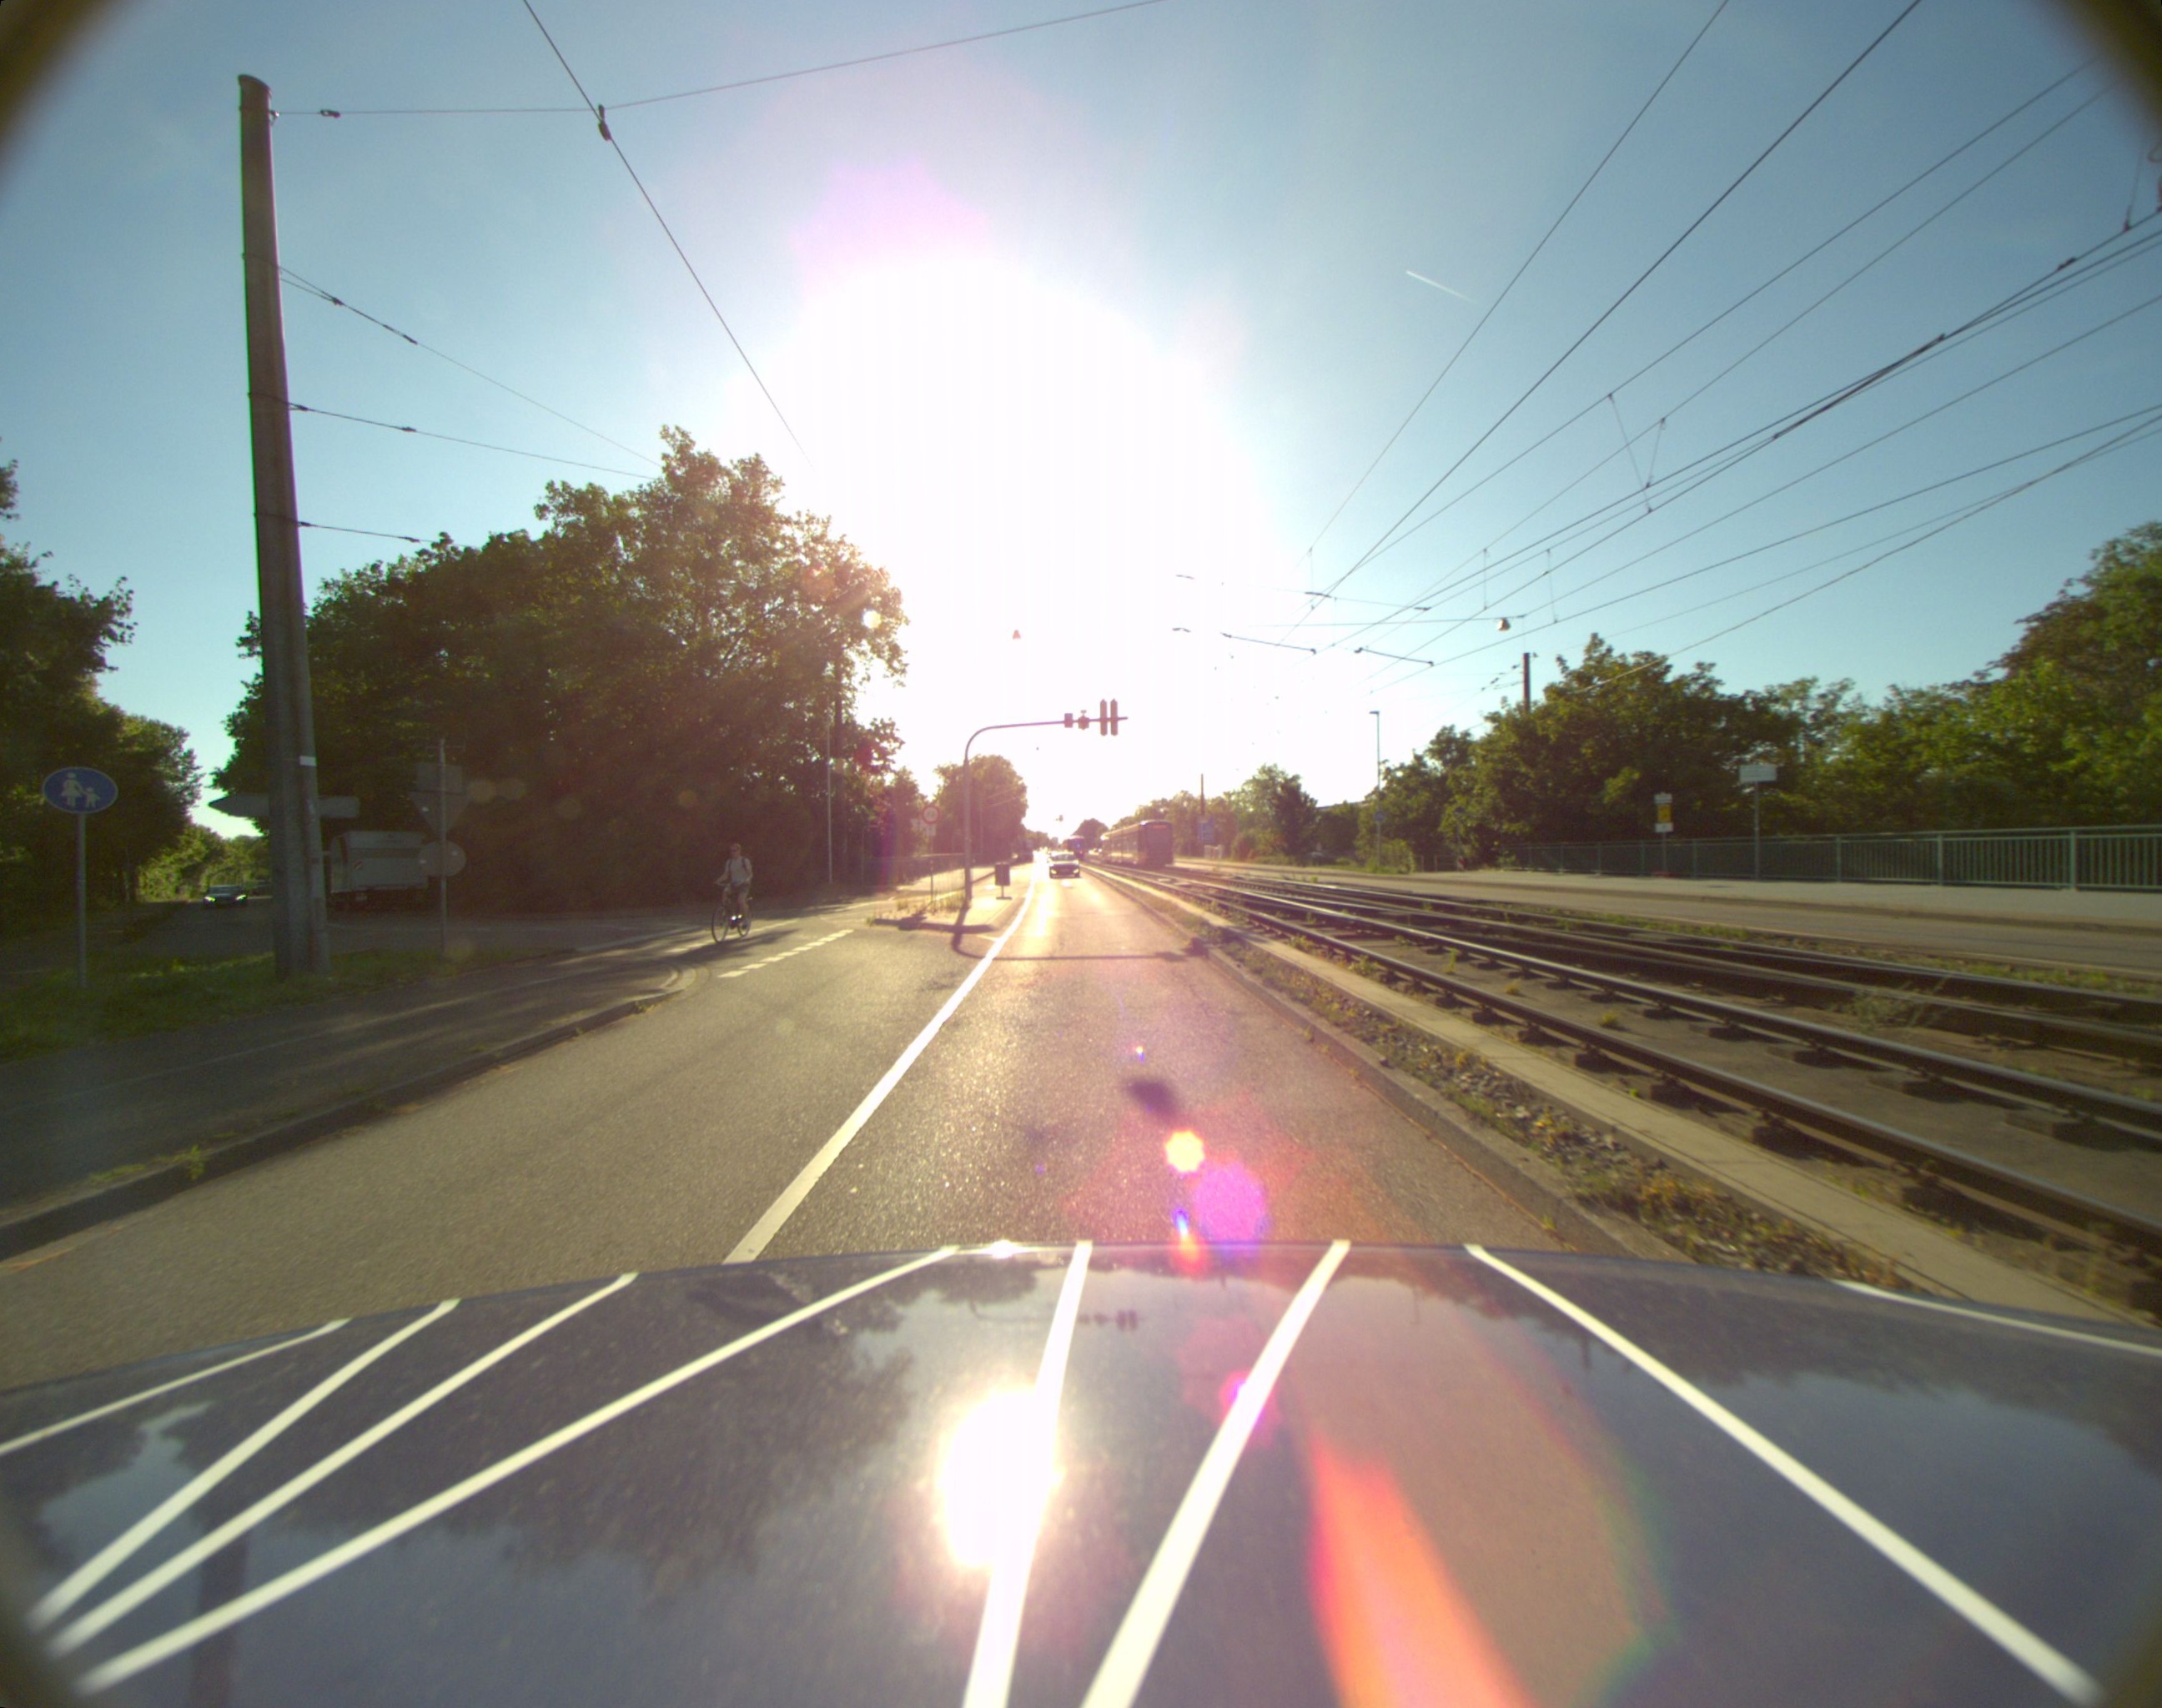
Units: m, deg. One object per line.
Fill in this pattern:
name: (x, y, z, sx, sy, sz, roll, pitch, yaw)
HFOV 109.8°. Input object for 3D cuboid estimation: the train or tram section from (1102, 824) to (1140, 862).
train or tram section: (4.303, -1.155, 84.884, 3.012, 3.878, 13.076, -1, 1, -2)

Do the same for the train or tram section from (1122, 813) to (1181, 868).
train or tram section: (5.355, -1.004, 60.353, 2.986, 3.878, 12.697, -1, 1, -2)

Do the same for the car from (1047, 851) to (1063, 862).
car: (-3.281, 0.337, 97.388, 1.801, 1.345, 4.000, -1, 0, 1)

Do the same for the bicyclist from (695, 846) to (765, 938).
bicyclist: (-6.883, 0.718, 14.971, 0.733, 1.680, 1.202, -4, 1, -2)

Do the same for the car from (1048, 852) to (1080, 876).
car: (-1.054, 0.548, 44.993, 1.802, 1.345, 3.999, -1, 0, -3)

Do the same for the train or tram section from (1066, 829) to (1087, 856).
train or tram section: (-0.774, -1.722, 116.283, 2.570, 3.878, 11.667, -1, 1, -3)

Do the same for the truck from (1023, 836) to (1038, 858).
truck: (-9.436, -1.319, 141.760, 2.559, 3.826, 7.867, -1, 1, -3)

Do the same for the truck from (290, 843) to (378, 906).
truck: (-44.478, 1.153, 45.177, 7.956, 3.429, 2.566, -1, 1, 38)

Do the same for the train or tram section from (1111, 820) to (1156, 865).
train or tram section: (4.841, -1.068, 72.535, 2.984, 3.878, 11.660, -1, 1, -2)

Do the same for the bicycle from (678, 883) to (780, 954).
bicycle: (-6.837, 1.204, 14.952, 0.733, 1.116, 2.741, -4, 0, -2)

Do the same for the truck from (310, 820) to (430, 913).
truck: (-34.456, 0.575, 36.674, 9.857, 3.974, 2.566, -1, 1, 38)

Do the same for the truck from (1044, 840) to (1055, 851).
truck: (-10.015, -2.740, 241.379, 3.315, 3.283, 15.316, -1, 0, -3)

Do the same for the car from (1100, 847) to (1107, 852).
car: (6.483, -1.418, 222.185, 1.802, 1.345, 3.998, -3, 1, -3)

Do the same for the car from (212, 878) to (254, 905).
car: (-54.601, 2.389, 48.904, 3.989, 1.543, 1.741, -1, 0, 41)

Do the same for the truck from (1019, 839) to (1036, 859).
truck: (-8.791, -0.827, 125.165, 2.610, 3.186, 7.867, -1, 1, -3)

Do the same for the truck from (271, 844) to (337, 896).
truck: (-60.913, 1.198, 59.509, 7.956, 3.822, 2.566, -1, 1, 38)
